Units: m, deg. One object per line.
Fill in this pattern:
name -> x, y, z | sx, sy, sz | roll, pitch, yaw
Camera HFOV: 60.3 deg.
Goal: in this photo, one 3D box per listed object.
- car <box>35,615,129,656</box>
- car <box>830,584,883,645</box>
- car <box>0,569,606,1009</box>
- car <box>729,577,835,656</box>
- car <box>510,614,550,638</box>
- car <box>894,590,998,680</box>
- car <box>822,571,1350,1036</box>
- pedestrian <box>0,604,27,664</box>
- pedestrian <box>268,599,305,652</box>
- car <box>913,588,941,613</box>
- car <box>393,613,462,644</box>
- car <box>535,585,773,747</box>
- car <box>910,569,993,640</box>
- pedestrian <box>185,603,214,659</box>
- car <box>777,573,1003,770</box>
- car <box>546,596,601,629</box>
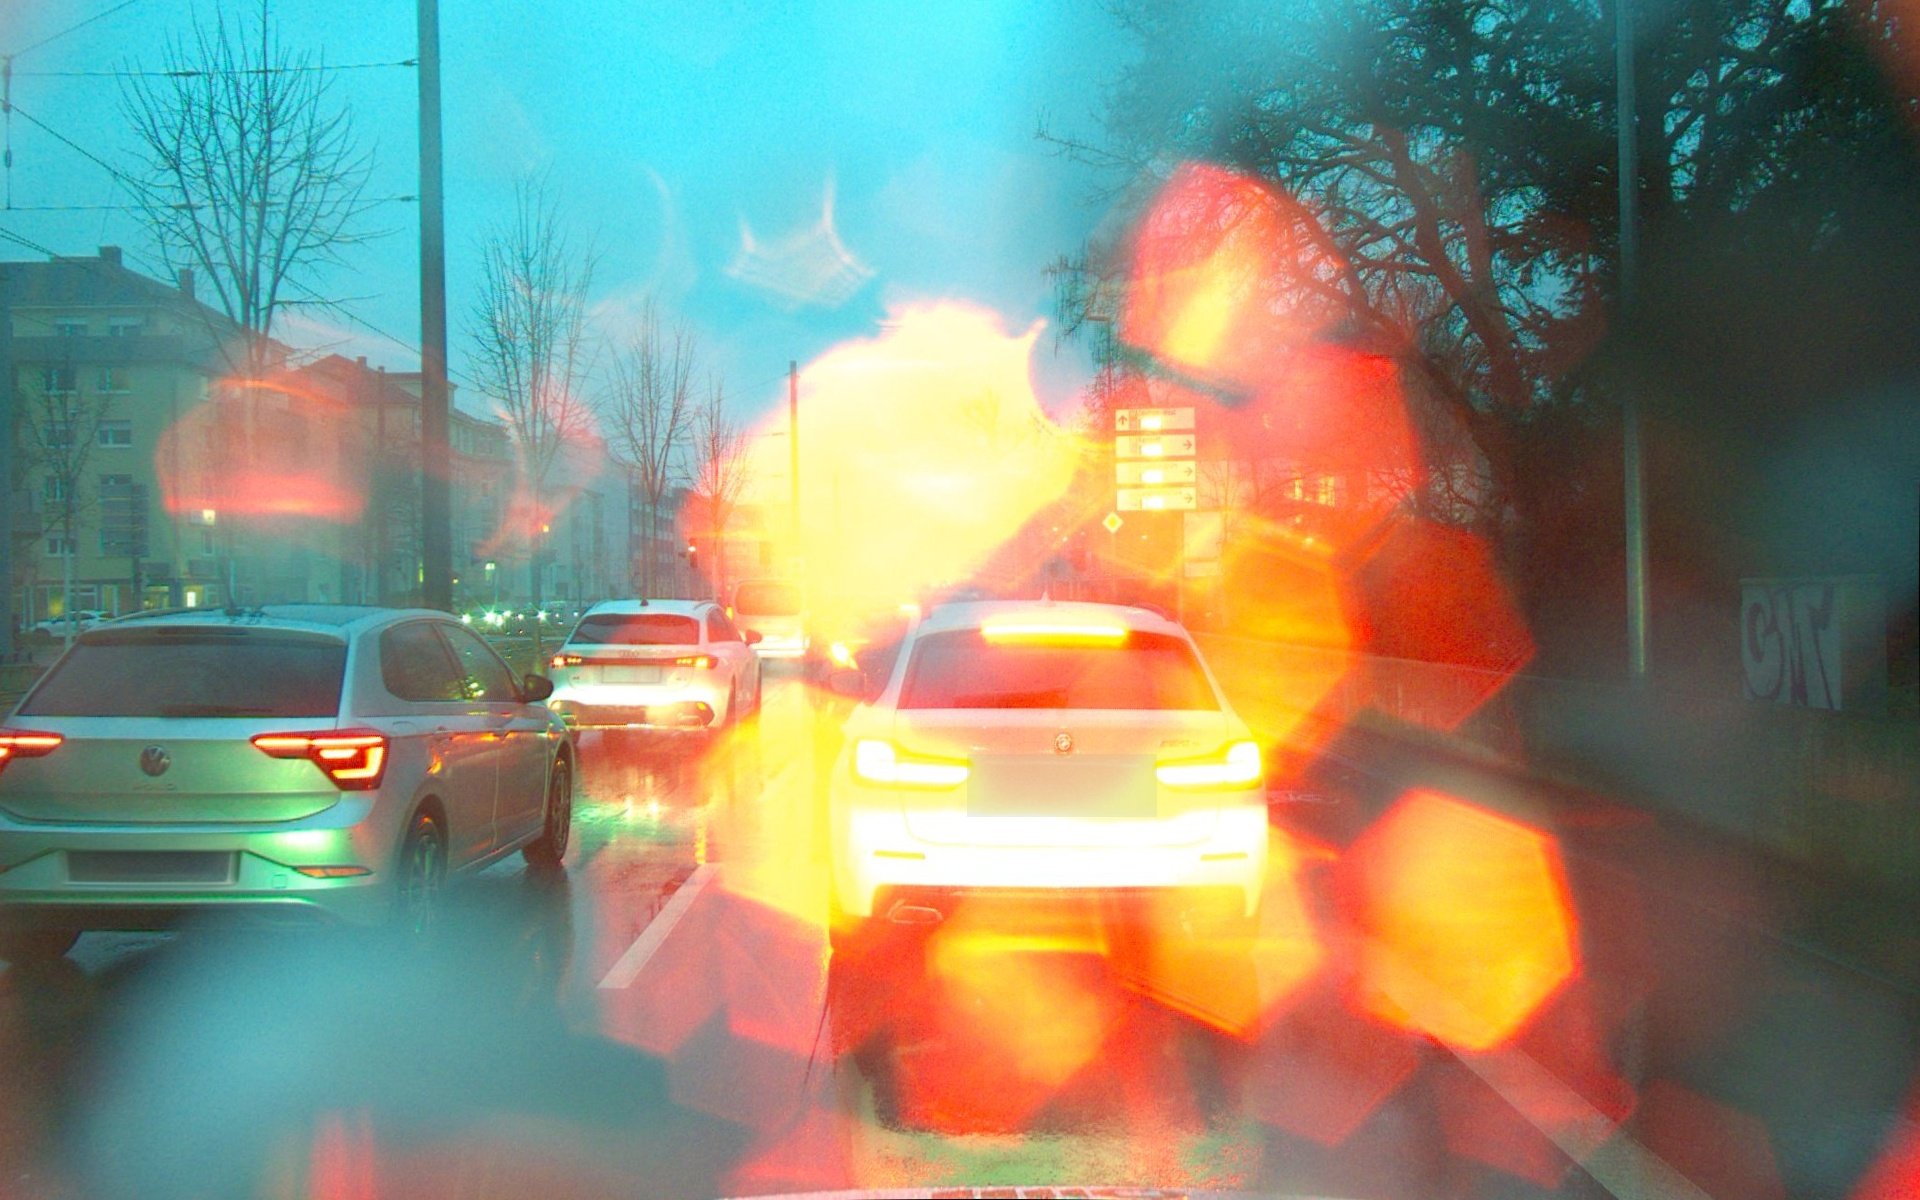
car -> -43.745, 1.777, 82.487 | 3.679, 1.976, 1.838 | 1, 0, -9
car -> -3.011, 0.405, 47.905 | 1.476, 1.681, 2.842 | 1, 0, -4
car -> -2.901, 0.662, 7.880 | 1.659, 1.560, 3.999 | 0, 0, -2
car -> -3.535, 0.301, 33.499 | 1.702, 1.444, 4.393 | -1, 0, -1
car -> -24.839, 1.482, 95.627 | 1.659, 1.300, 4.142 | -1, 0, -7
car -> -0.260, 0.567, 29.234 | 1.702, 1.444, 3.702 | -1, 0, -1
car -> 0.409, 0.696, 8.256 | 1.825, 1.583, 4.937 | -1, 0, -1
pedestrian -> -33.015, 1.161, 57.227 | 1.061, 2.049, 0.993 | -1, 0, -41
pedestrian -> -26.406, 0.991, 64.851 | 1.253, 2.049, 1.000 | -1, 0, -25
car -> -2.031, 0.013, 101.876 | 1.702, 1.444, 4.145 | -1, 0, -1
car -> -24.214, 1.272, 75.335 | 1.821, 1.355, 4.314 | 1, 0, -1
car -> -3.141, 0.610, 17.876 | 1.762, 1.492, 4.585 | -1, 0, -1
car -> -0.203, 0.082, 36.163 | 1.702, 1.444, 3.702 | -1, 0, -1
pedestrian -> -28.804, 1.163, 62.659 | 0.946, 2.049, 1.000 | -1, 0, -25
car -> -0.580, 0.565, 15.037 | 1.763, 1.537, 3.894 | -1, 0, -1
car -> -19.639, 0.641, 84.255 | 1.953, 1.630, 3.998 | 1, 0, -2
